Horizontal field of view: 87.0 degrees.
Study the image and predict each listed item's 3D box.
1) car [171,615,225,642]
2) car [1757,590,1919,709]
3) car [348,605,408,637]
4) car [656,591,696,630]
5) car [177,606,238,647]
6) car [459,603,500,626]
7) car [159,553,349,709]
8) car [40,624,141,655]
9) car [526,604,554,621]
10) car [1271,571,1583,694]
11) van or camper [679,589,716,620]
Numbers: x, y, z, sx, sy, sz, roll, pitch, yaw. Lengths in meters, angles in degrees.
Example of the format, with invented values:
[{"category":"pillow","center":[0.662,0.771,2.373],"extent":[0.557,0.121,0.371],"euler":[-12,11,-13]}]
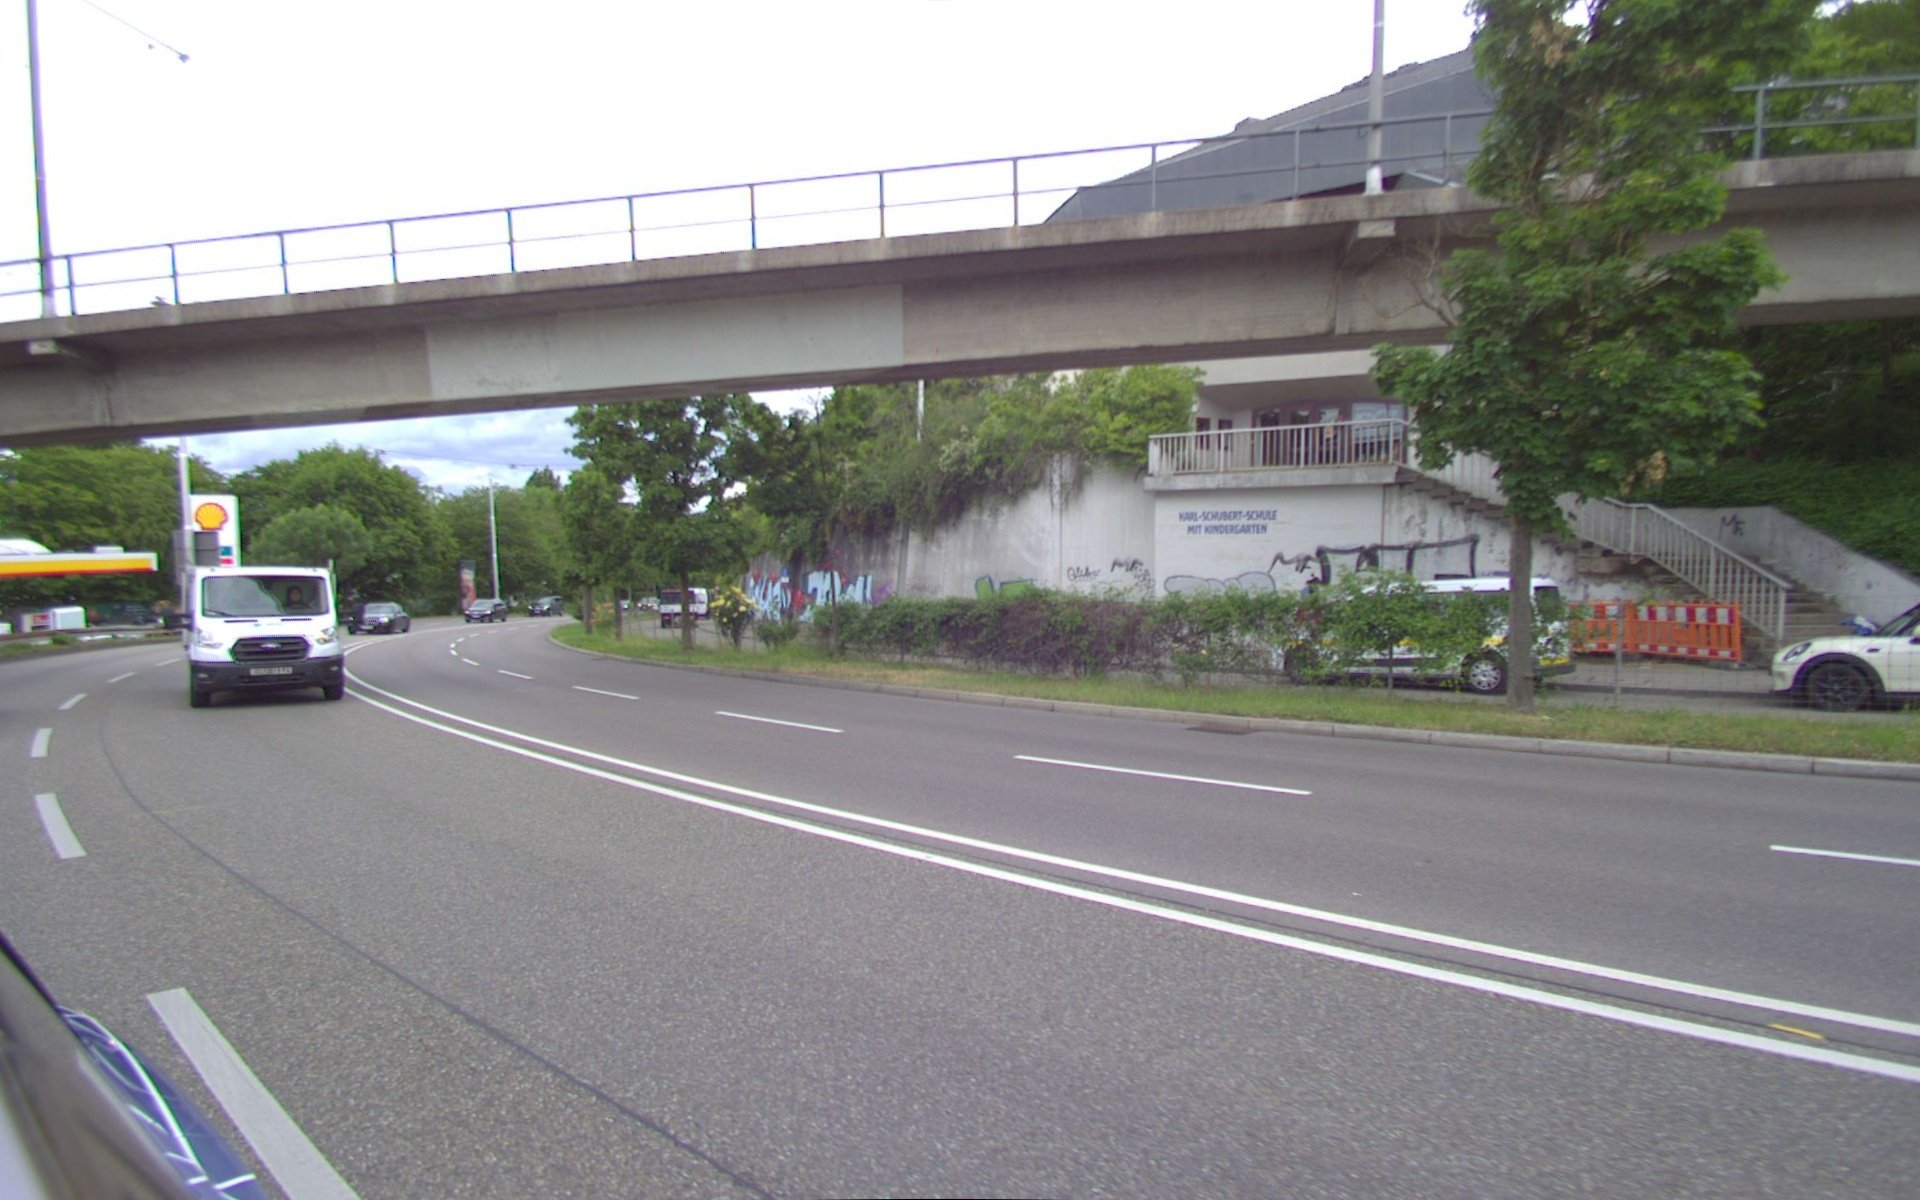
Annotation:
[{"category":"car","center":[-51.515,1.930,68.373],"extent":[4.285,1.437,1.714],"euler":[3,6,36]},{"category":"car","center":[12.429,0.589,12.559],"extent":[1.746,1.430,3.805],"euler":[-1,0,-45]},{"category":"car","center":[-28.079,0.960,48.924],"extent":[1.708,1.422,4.013],"euler":[-2,0,-19]},{"category":"car","center":[-17.288,0.598,61.566],"extent":[2.236,2.290,6.345],"euler":[0,0,-16]},{"category":"car","center":[-28.617,0.975,38.567],"extent":[1.706,1.421,4.010],"euler":[-1,0,-35]},{"category":"car","center":[-33.771,1.015,71.249],"extent":[1.702,1.489,4.010],"euler":[-2,0,-12]},{"category":"car","center":[-12.159,0.469,17.195],"extent":[1.969,2.190,6.277],"euler":[0,-1,-41]},{"category":"car","center":[-51.254,2.293,59.745],"extent":[1.595,1.442,4.251],"euler":[2,3,30]},{"category":"car","center":[-38.907,1.105,93.848],"extent":[1.702,1.489,4.011],"euler":[-2,0,-13]},{"category":"car","center":[7.727,0.521,17.081],"extent":[1.746,1.799,4.468],"euler":[1,-2,-45]},{"category":"van or camper","center":[-21.725,0.342,83.946],"extent":[1.970,2.491,5.714],"euler":[0,0,-4]}]
